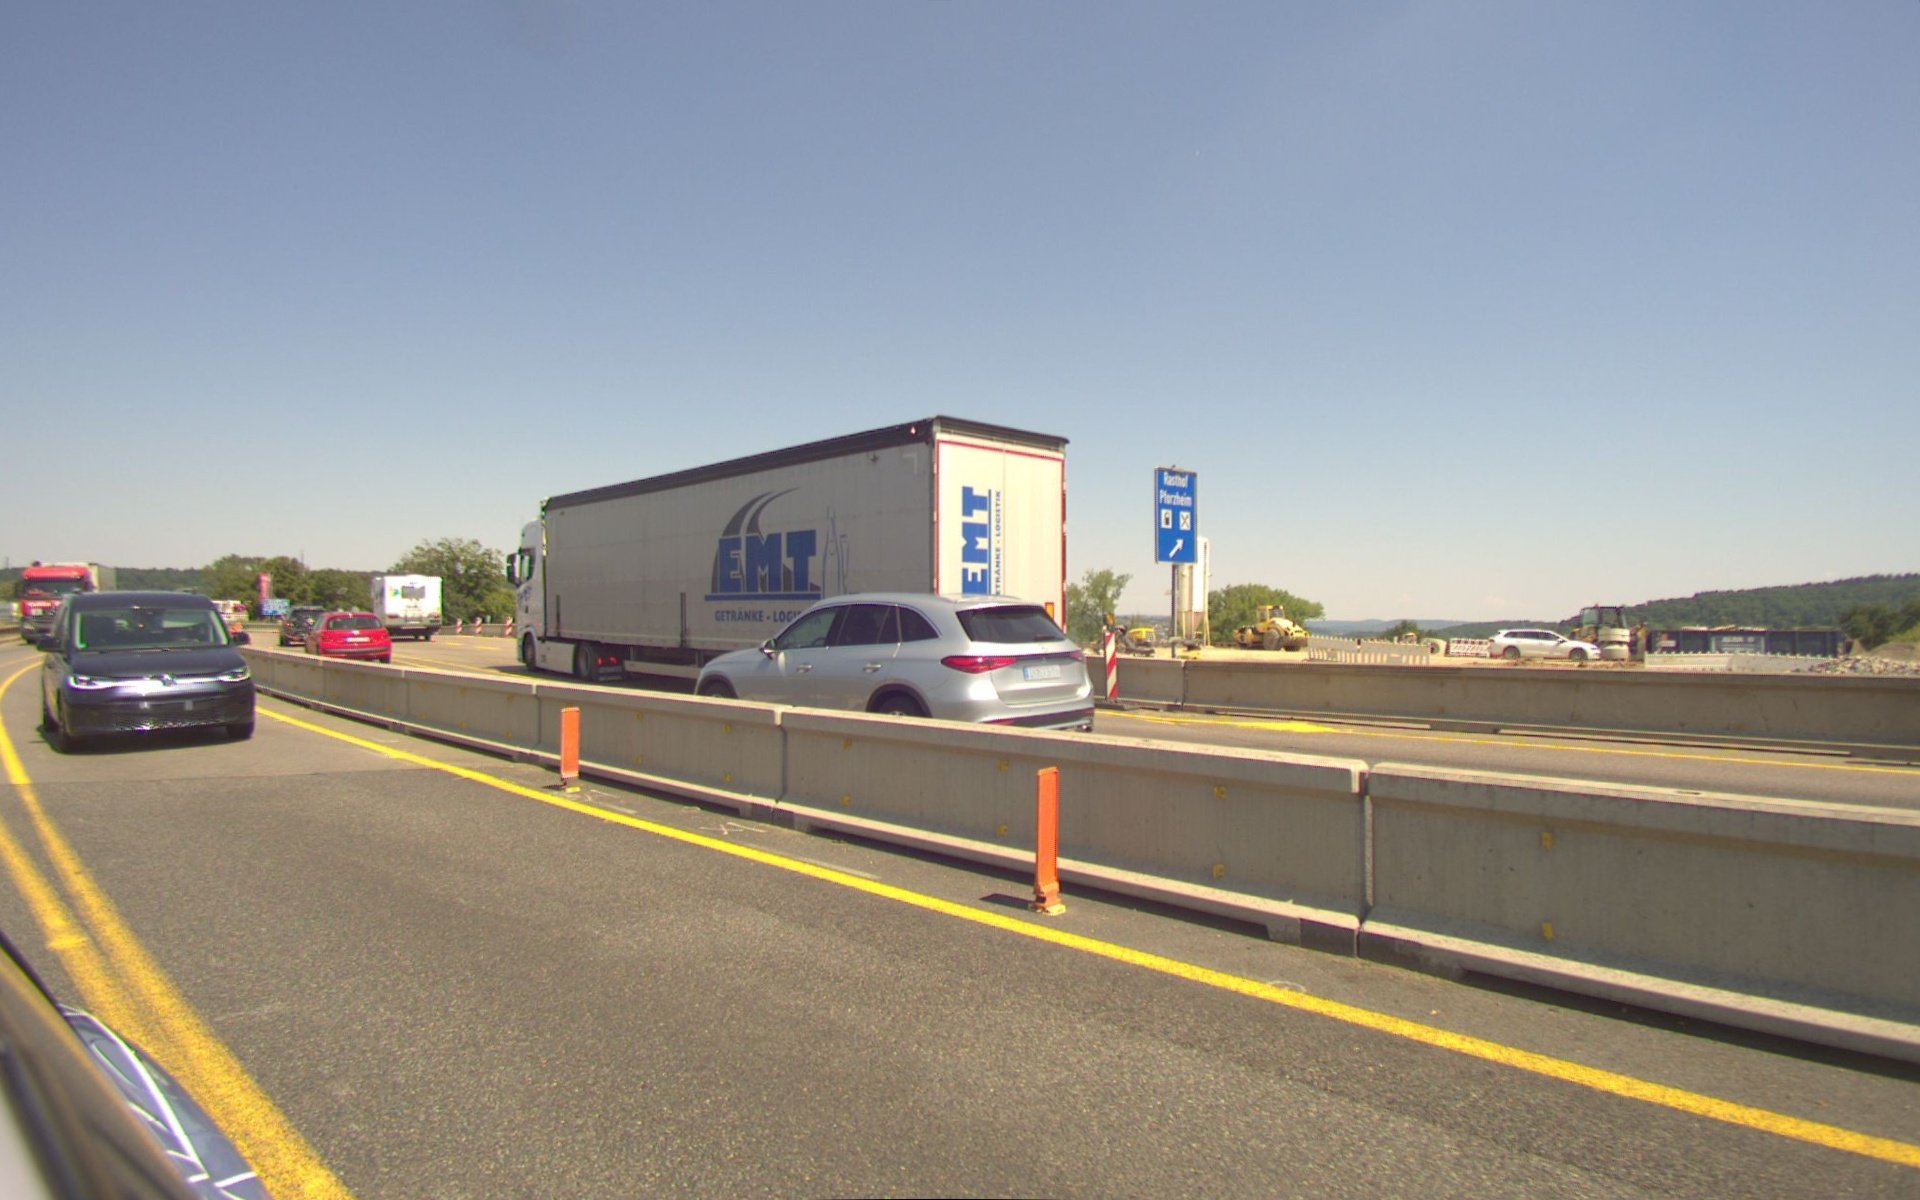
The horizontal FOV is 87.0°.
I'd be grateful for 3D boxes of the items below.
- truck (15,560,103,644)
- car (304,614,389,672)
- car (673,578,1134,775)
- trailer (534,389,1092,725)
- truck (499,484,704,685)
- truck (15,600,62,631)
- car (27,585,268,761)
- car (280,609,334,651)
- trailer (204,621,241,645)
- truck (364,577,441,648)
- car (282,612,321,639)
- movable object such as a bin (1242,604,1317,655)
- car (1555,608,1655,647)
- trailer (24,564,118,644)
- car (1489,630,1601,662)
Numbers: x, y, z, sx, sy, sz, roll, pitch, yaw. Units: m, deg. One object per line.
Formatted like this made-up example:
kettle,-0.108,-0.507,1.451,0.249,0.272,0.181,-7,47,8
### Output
truck,-44.640,0.167,50.263,2.585,3.933,4.946,1,-2,-34
car,-16.931,1.142,27.838,1.646,1.487,3.979,1,-2,-36
car,-0.791,0.633,9.957,4.779,1.487,1.775,-1,-2,44
trailer,-3.853,-0.389,18.538,2.727,4.146,13.993,1,-2,-42
truck,-8.491,-0.251,23.617,2.668,4.093,5.509,1,-2,-41
truck,-104.067,1.822,114.248,6.913,3.407,2.556,-1,-2,36
car,-10.324,0.776,12.716,1.899,1.803,4.606,0,-1,-45
car,-26.845,1.224,41.561,1.638,1.617,4.407,1,-2,-36
trailer,-66.368,2.953,91.036,4.435,2.037,1.846,-1,-2,42
truck,-26.478,0.615,47.909,2.409,3.095,7.265,1,-2,-35
car,-49.747,1.933,76.447,1.842,1.968,4.899,1,-2,-41
movable object such as a bin,20.615,1.915,65.554,1.965,3.165,4.500,1,-2,-29
car,32.096,1.371,50.495,3.977,1.896,1.756,-1,-2,25
trailer,-48.473,0.335,55.478,2.659,3.904,12.451,1,-2,-36
car,27.261,2.128,47.227,4.436,1.420,1.598,-1,-2,35
